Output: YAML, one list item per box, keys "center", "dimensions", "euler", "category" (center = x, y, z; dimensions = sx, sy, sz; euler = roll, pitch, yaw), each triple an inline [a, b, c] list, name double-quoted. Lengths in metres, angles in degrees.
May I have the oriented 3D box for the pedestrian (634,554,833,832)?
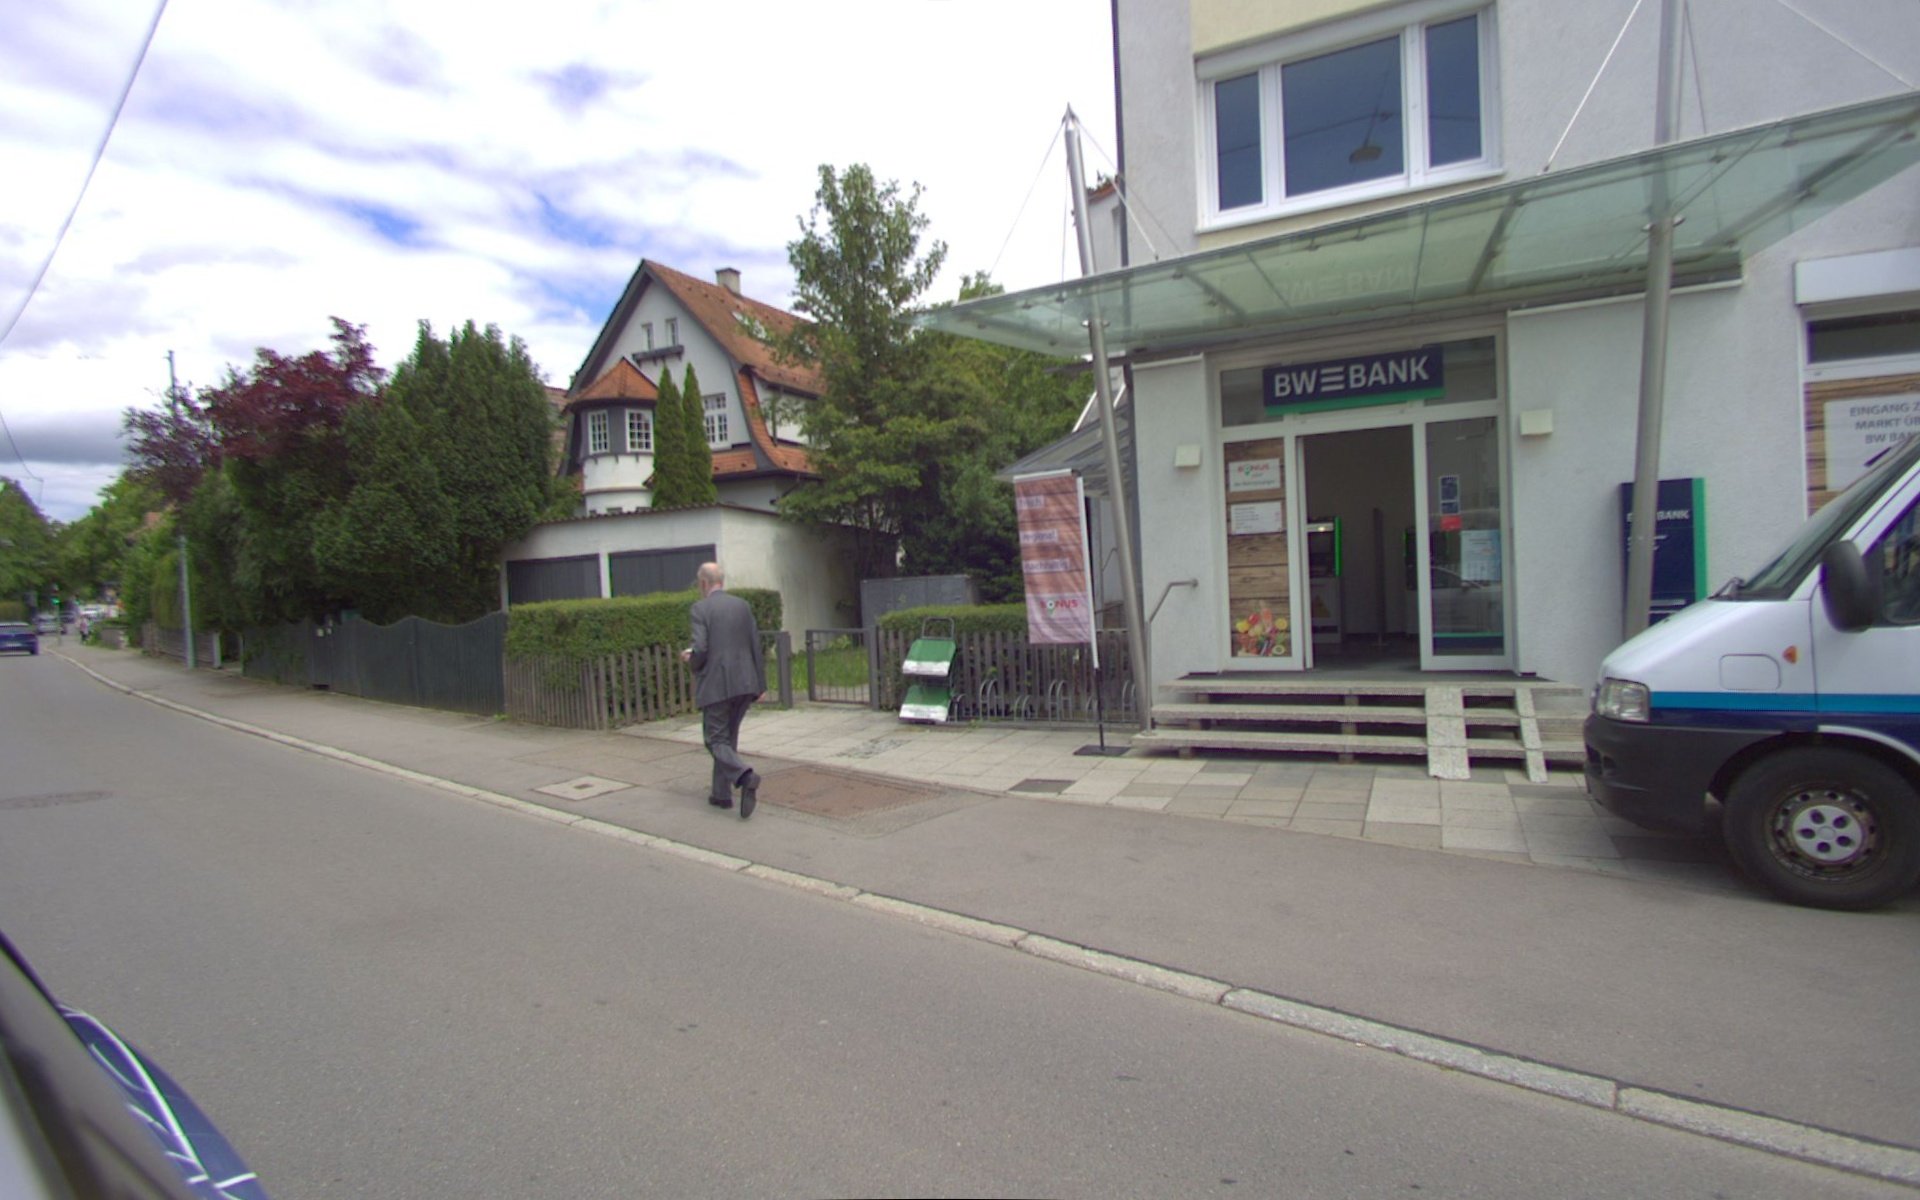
- center: [-1.551, 0.574, 6.887]
  dimensions: [1.109, 1.699, 0.715]
  euler: [-1, 3, 42]
  category: "pedestrian"

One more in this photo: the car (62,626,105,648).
- center: [-63.707, 2.678, 73.564]
  dimensions: [1.794, 1.361, 3.401]
  euler: [-5, 3, -32]
  category: "car"

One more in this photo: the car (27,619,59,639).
- center: [-79.413, 2.459, 87.634]
  dimensions: [4.140, 1.668, 1.819]
  euler: [-1, -2, 45]
  category: "car"

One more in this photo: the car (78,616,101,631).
- center: [-112.828, 3.003, 131.115]
  dimensions: [1.971, 1.709, 4.004]
  euler: [-6, 3, -43]
  category: "car"

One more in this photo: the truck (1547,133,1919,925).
- center: [5.954, -0.336, 3.319]
  dimensions: [6.696, 2.861, 2.451]
  euler: [-2, 1, 37]
  category: "truck"

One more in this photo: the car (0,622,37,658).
- center: [-42.048, 1.769, 44.757]
  dimensions: [1.673, 1.442, 3.933]
  euler: [-4, 1, -41]
  category: "car"

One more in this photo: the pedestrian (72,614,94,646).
- center: [-49.350, 1.682, 56.957]
  dimensions: [0.810, 1.757, 0.605]
  euler: [-5, 3, -42]
  category: "pedestrian"
